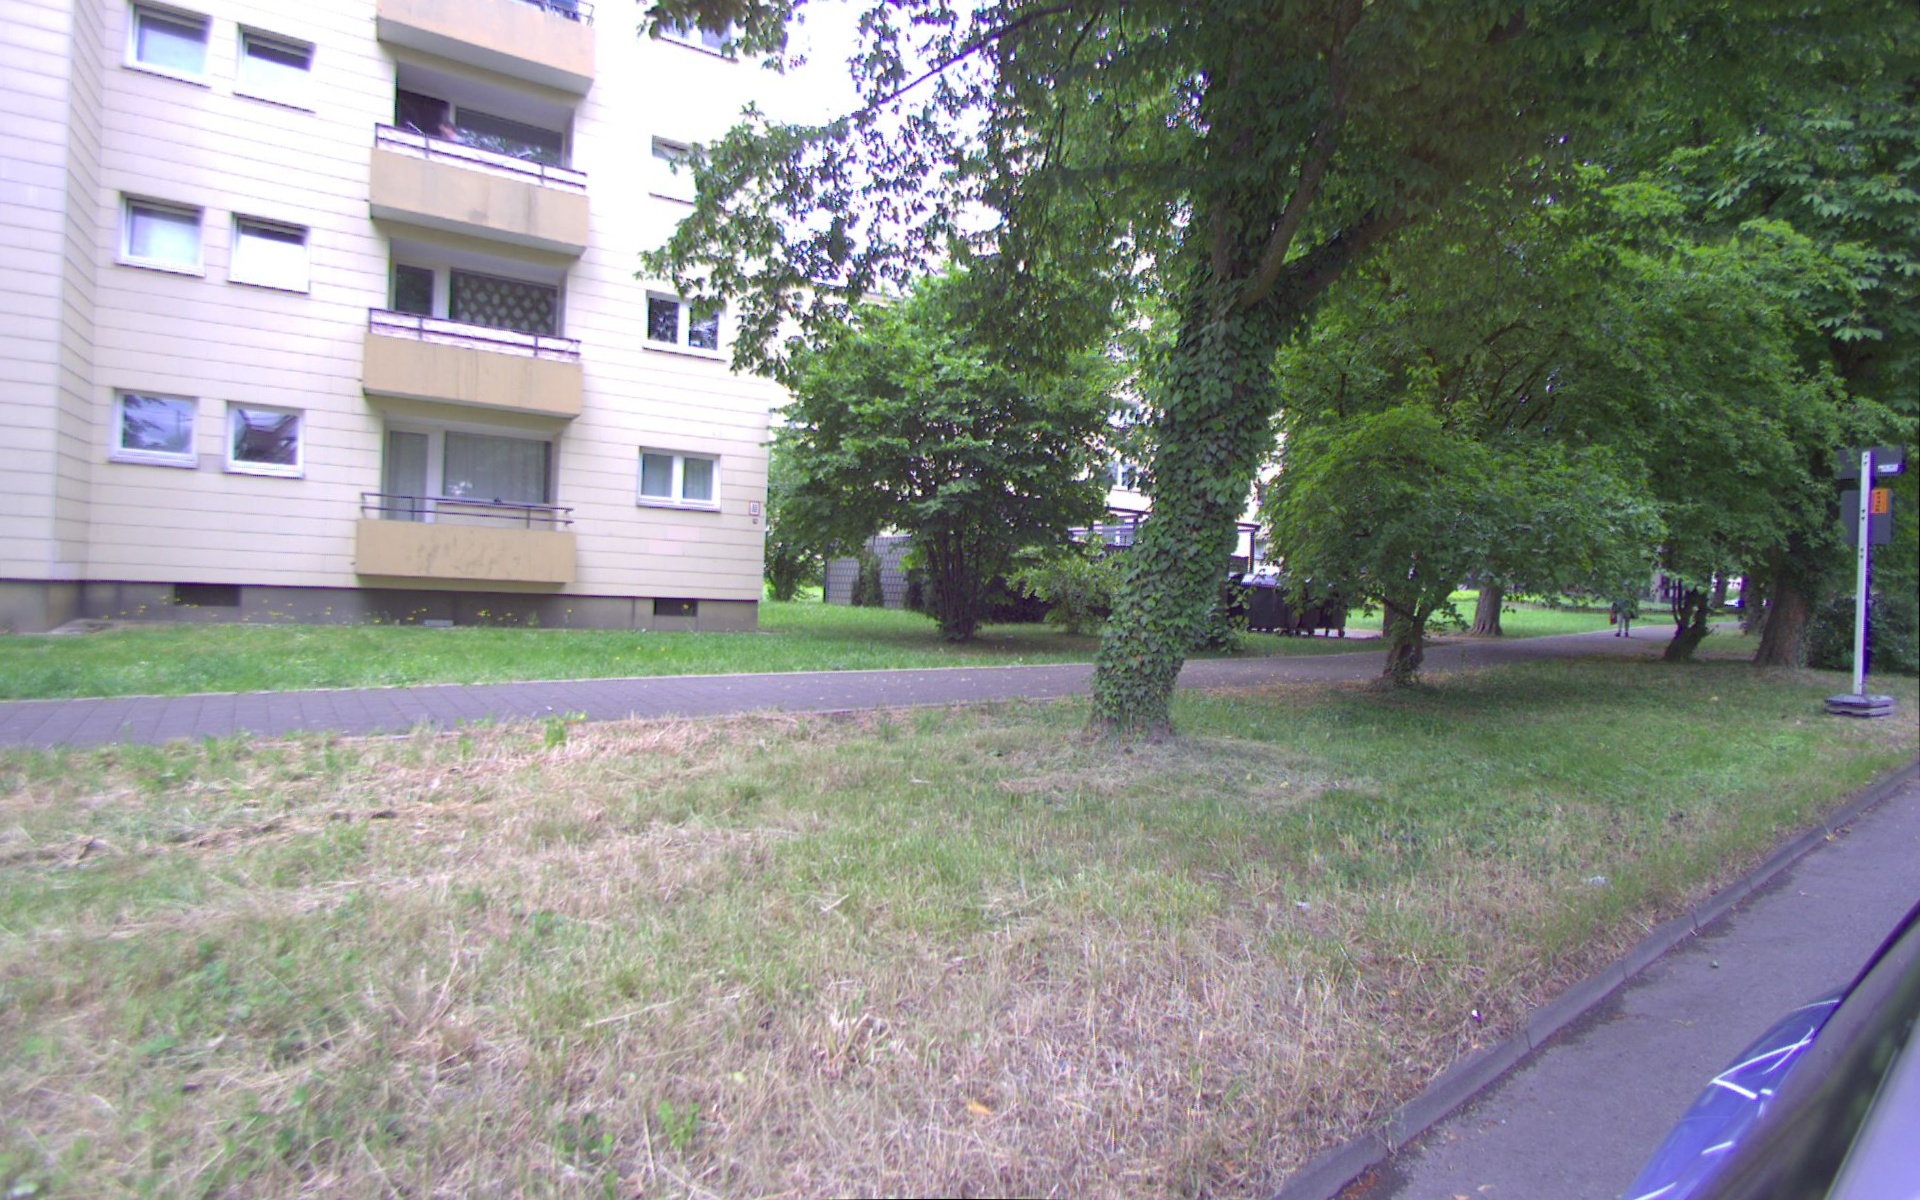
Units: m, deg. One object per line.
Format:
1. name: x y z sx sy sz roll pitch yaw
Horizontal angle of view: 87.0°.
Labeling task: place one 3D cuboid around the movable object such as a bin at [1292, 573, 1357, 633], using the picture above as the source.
1. movable object such as a bin: 9.172 0.059 25.435 1.190 1.431 1.095 3 2 41

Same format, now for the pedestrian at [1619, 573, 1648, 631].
1. pedestrian: 21.274 0.058 31.979 0.560 1.761 0.565 1 3 -42

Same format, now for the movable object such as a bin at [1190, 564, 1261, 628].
1. movable object such as a bin: 6.499 -0.111 24.791 1.190 1.474 1.329 3 2 41

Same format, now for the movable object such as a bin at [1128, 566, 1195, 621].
1. movable object such as a bin: 5.225 -0.175 26.253 1.190 1.358 1.329 3 2 41

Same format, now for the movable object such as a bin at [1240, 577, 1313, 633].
1. movable object such as a bin: 7.496 0.107 23.929 1.190 1.236 1.329 3 2 41

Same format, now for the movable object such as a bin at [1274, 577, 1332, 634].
1. movable object such as a bin: 8.377 0.124 24.710 1.022 1.320 0.946 3 2 41
